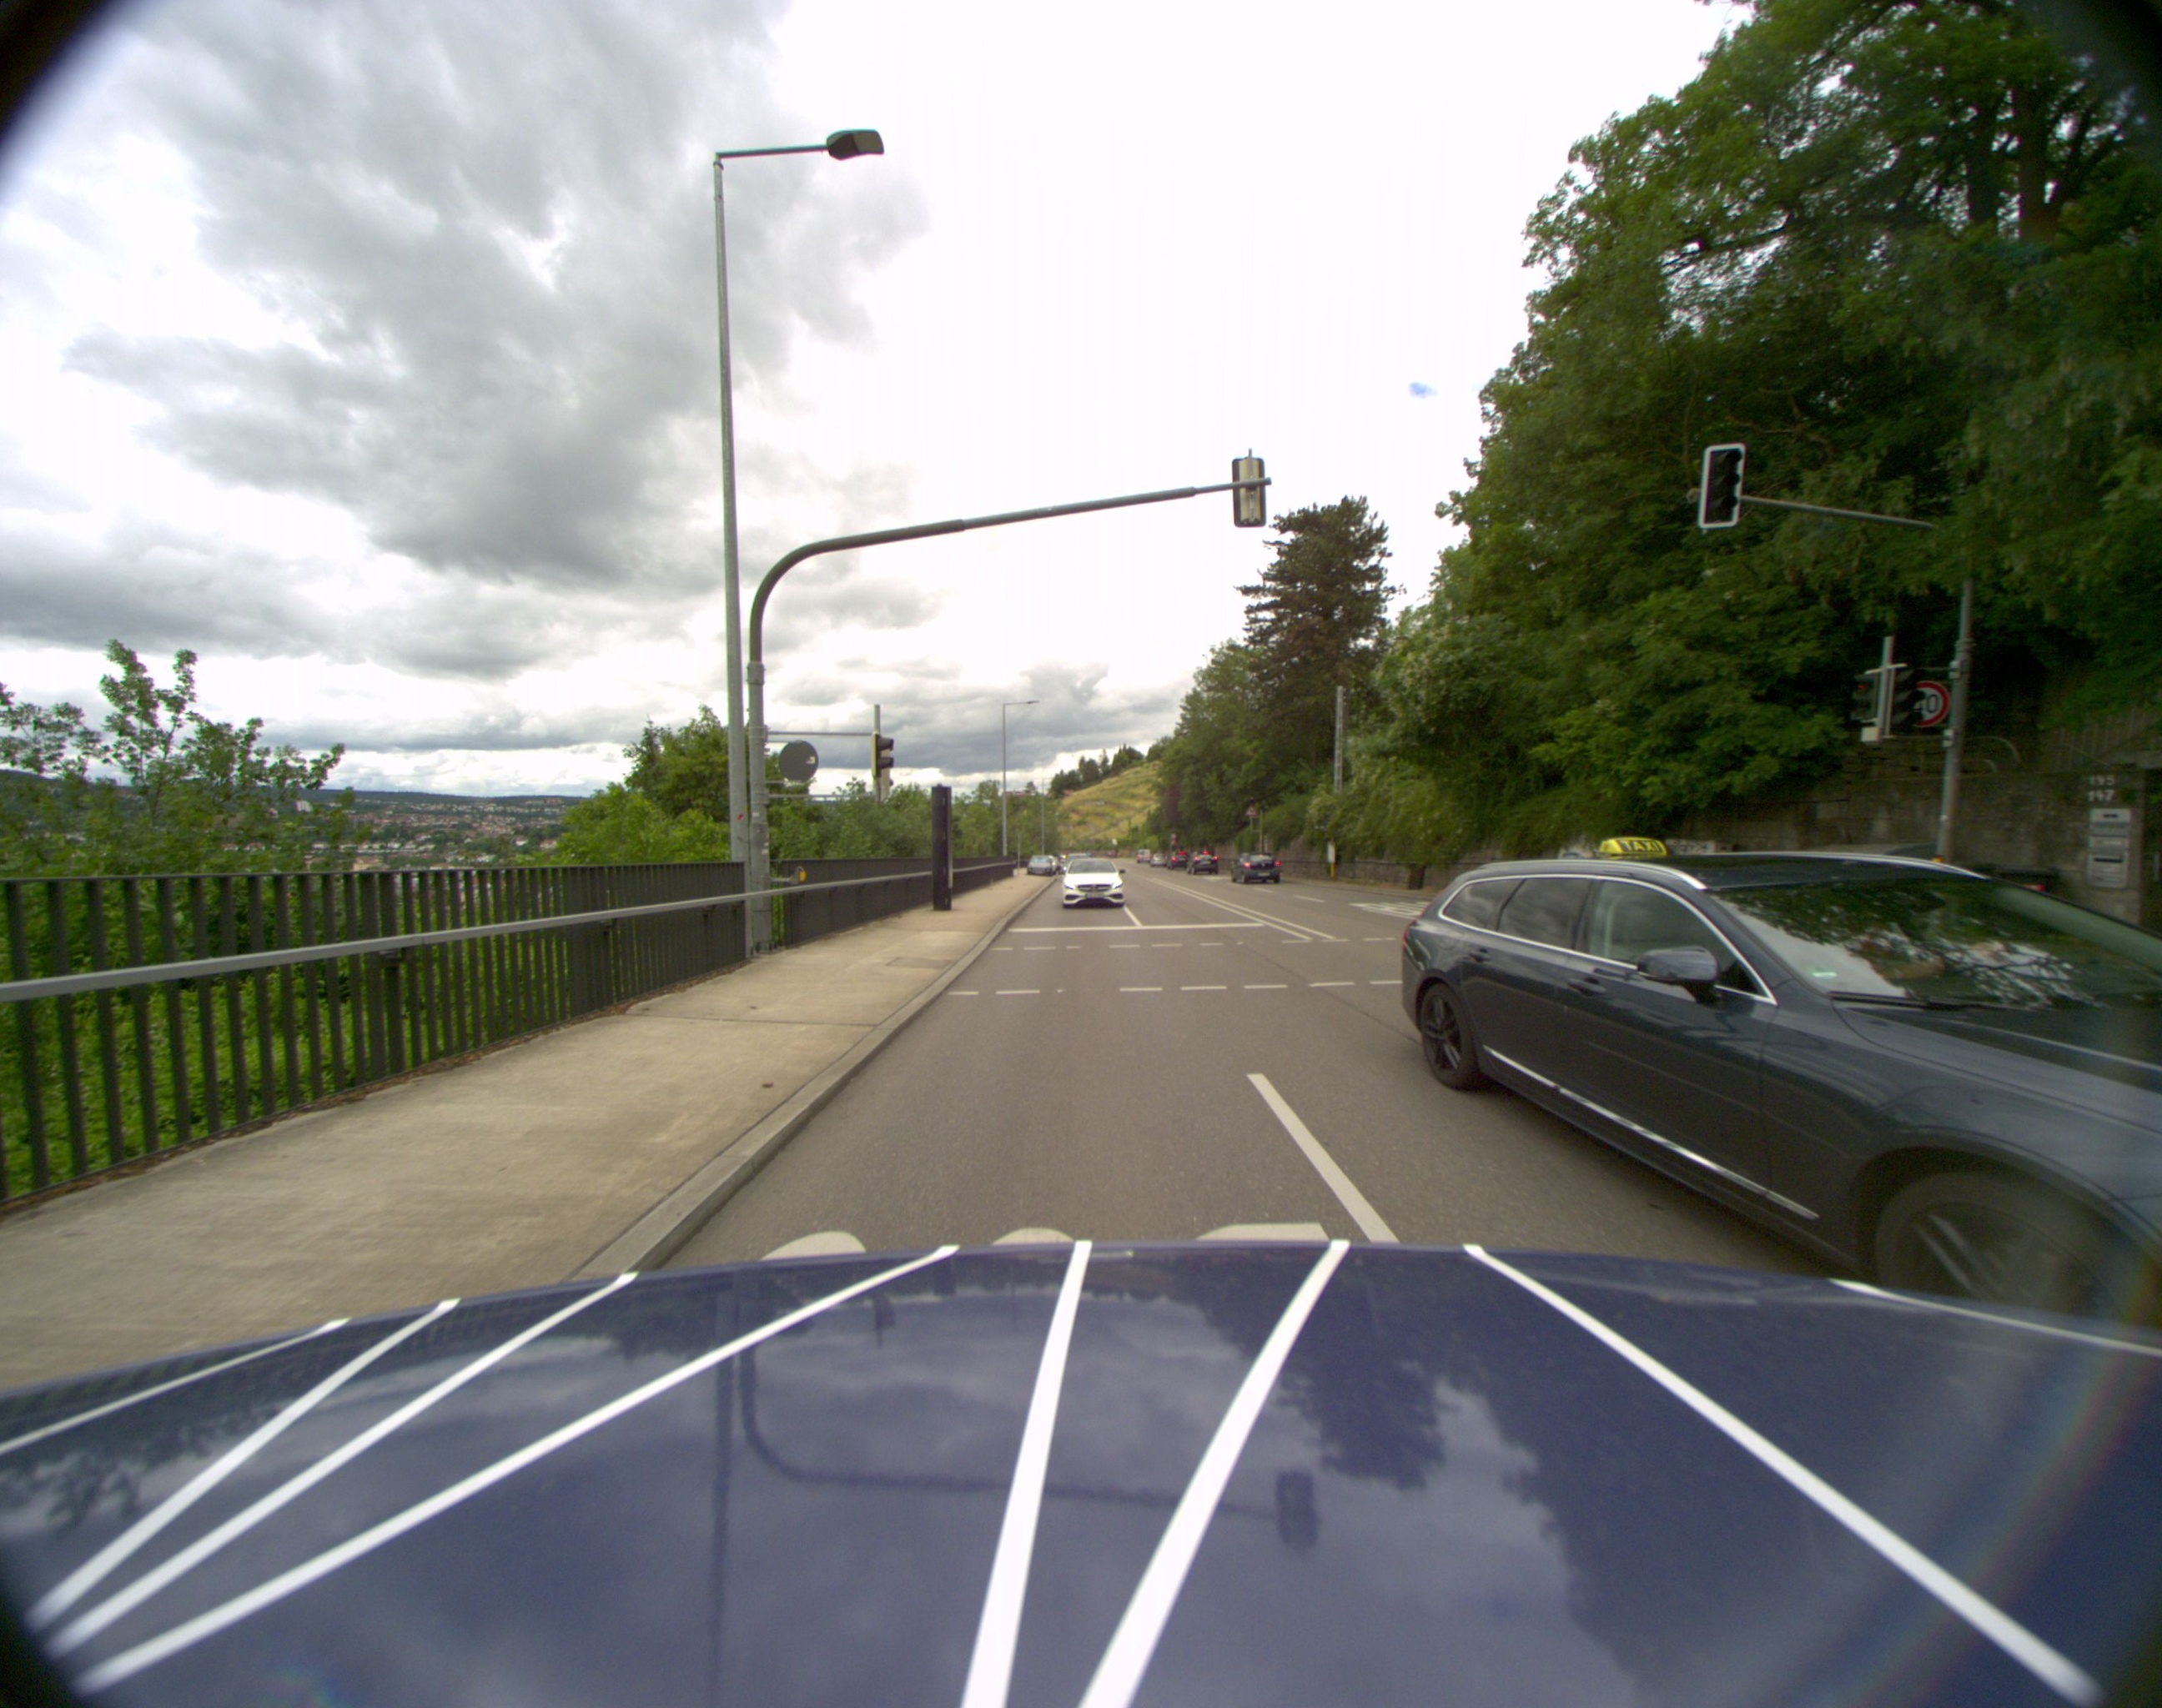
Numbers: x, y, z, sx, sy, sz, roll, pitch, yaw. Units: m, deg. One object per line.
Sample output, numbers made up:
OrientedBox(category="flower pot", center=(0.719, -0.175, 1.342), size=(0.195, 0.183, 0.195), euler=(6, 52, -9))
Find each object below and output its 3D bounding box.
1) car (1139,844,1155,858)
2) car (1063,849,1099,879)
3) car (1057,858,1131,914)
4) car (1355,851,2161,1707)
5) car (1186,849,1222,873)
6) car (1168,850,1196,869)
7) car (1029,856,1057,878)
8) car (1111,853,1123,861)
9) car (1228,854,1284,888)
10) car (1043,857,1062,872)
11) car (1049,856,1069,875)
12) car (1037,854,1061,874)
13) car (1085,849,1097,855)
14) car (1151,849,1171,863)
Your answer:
OrientedBox(category="car", center=(9.773, -0.373, 112.776), size=(1.926, 1.993, 5.355), euler=(-1, 0, 1))
OrientedBox(category="car", center=(0.026, 0.559, 45.505), size=(1.998, 1.580, 4.000), euler=(-3, 1, 1))
OrientedBox(category="car", center=(0.412, 0.884, 22.267), size=(1.903, 1.418, 4.267), euler=(-2, -1, 2))
OrientedBox(category="car", center=(3.050, 0.819, 3.268), size=(1.939, 1.567, 5.027), euler=(-3, 0, 1))
OrientedBox(category="car", center=(8.498, 0.466, 52.759), size=(1.786, 1.473, 4.211), euler=(-3, 0, 0))
OrientedBox(category="car", center=(9.018, 0.474, 67.990), size=(1.947, 1.540, 4.248), euler=(-1, 1, 1))
OrientedBox(category="car", center=(-2.739, 0.916, 55.988), size=(1.761, 1.535, 4.427), euler=(2, 0, 0))
OrientedBox(category="car", center=(8.138, 0.646, 171.793), size=(1.821, 1.687, 4.466), euler=(-2, 0, -7))
OrientedBox(category="car", center=(8.394, 0.790, 36.751), size=(1.817, 1.425, 4.249), euler=(-3, 1, 2))
OrientedBox(category="car", center=(-2.823, 1.004, 76.924), size=(1.828, 1.393, 4.318), euler=(1, 0, -1))
OrientedBox(category="car", center=(-1.944, 0.970, 67.909), size=(1.663, 1.563, 4.255), euler=(2, 0, 0))
OrientedBox(category="car", center=(-2.607, 0.809, 62.391), size=(1.731, 1.559, 4.623), euler=(0, 1, 0))
OrientedBox(category="car", center=(2.443, -0.544, 191.428), size=(1.590, 1.453, 3.516), euler=(-4, 1, -24))
OrientedBox(category="car", center=(8.763, 0.261, 83.377), size=(1.680, 1.433, 4.233), euler=(-3, 0, 1))
